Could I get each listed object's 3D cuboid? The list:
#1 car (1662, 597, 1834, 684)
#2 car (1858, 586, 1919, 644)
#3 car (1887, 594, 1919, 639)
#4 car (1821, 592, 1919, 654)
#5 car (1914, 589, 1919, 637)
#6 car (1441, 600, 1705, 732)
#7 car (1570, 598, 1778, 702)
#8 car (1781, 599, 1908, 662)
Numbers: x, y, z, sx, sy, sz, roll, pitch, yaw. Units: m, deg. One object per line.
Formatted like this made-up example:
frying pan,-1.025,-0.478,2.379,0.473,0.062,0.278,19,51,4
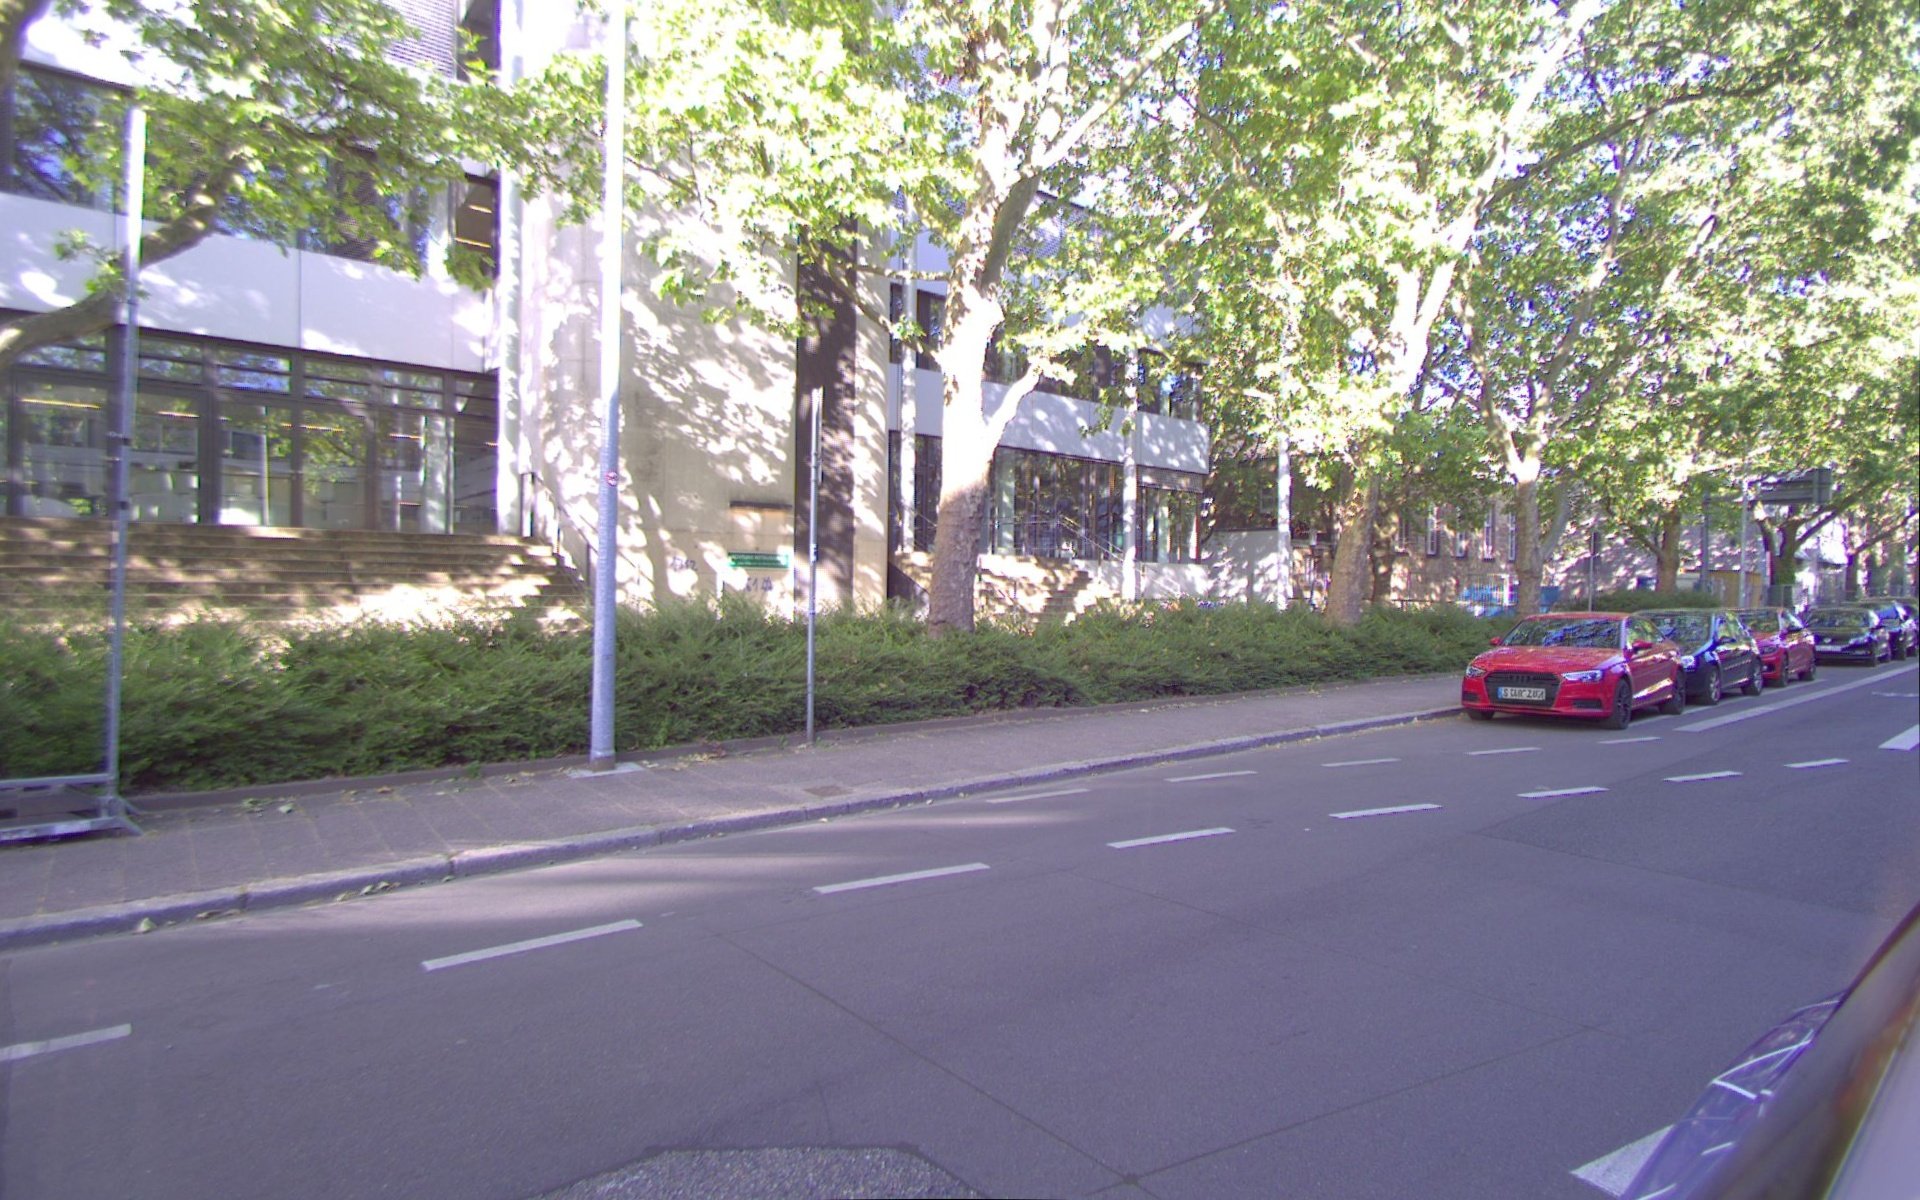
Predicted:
car,15.653,0.716,20.053,3.762,1.517,1.997,-1,1,-41
car,31.272,0.447,33.315,4.493,1.809,1.997,-1,0,-41
car,35.944,0.587,37.447,4.070,1.585,1.997,-1,0,-41
car,26.531,0.606,29.183,4.070,1.621,1.997,-1,0,-41
car,39.647,0.481,40.336,3.930,1.872,1.997,-1,0,-41
car,8.266,0.750,13.526,3.930,1.443,1.906,-1,1,-41
car,11.789,0.727,16.655,3.581,1.478,1.997,-1,1,-41
car,22.808,0.722,26.065,3.527,1.474,1.997,-1,1,-41
